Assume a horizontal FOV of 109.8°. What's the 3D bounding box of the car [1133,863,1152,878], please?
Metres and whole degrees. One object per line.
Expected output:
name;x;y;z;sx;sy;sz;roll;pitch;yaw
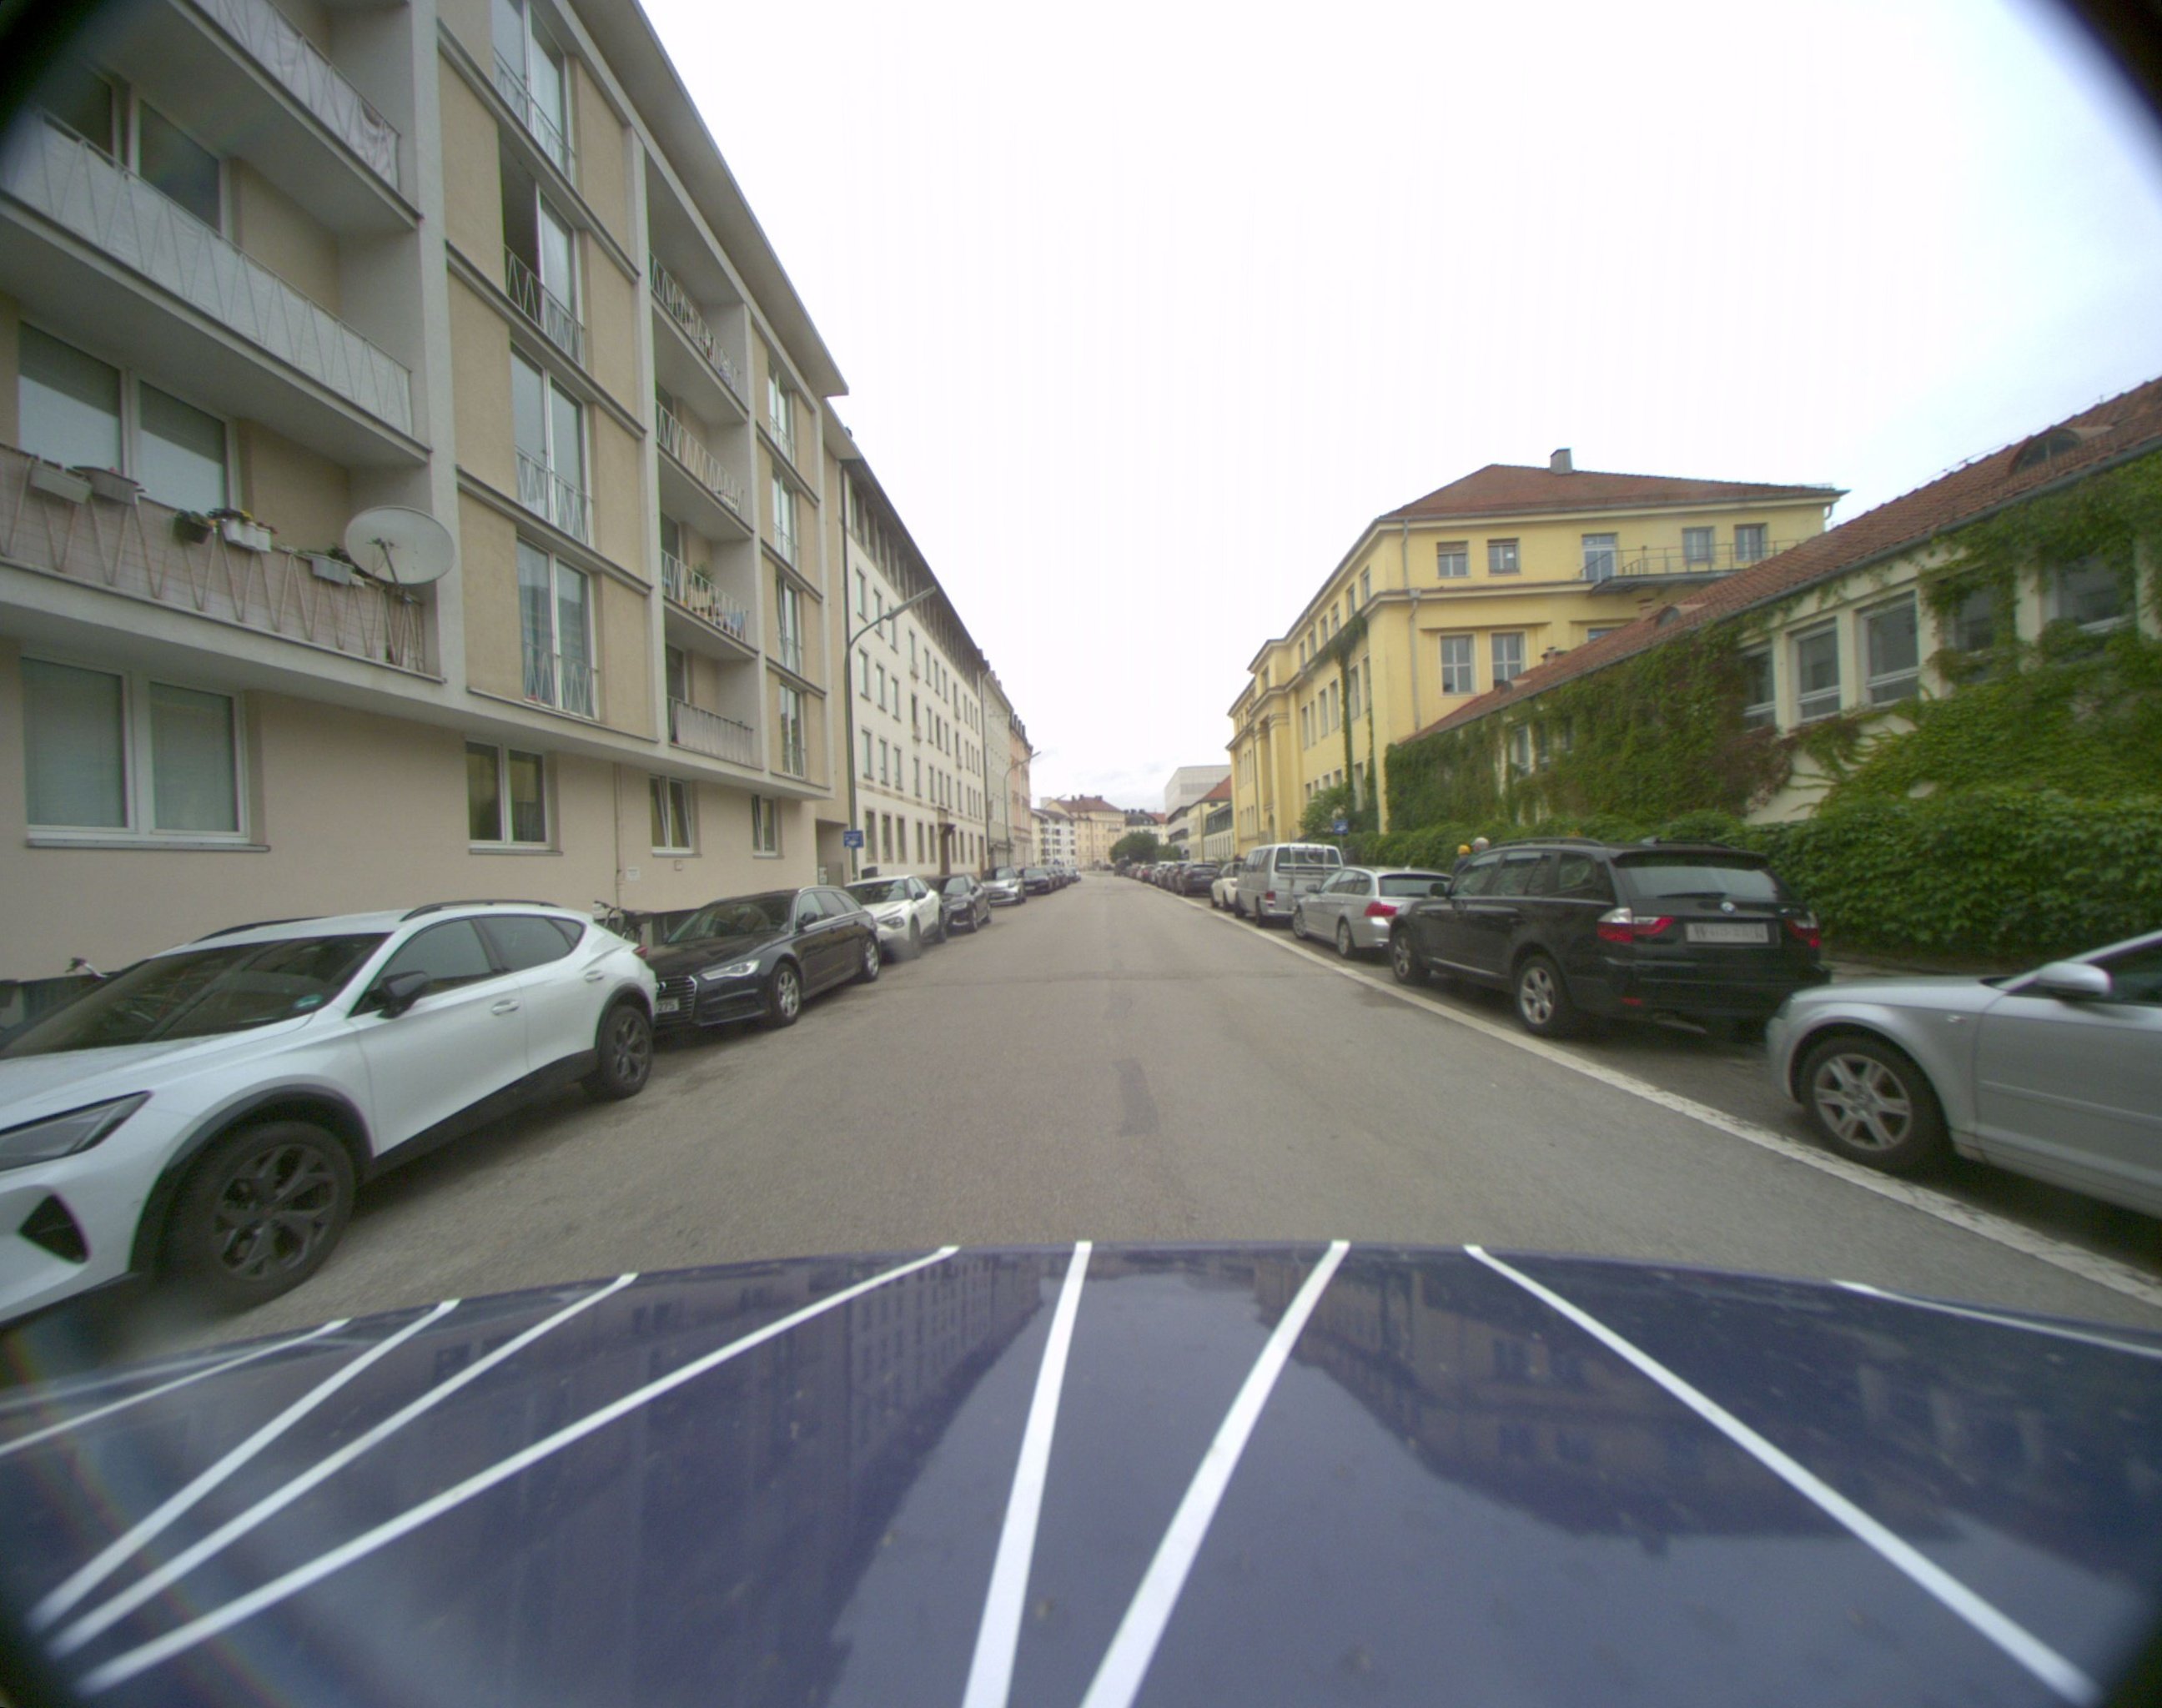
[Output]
car;6.504;1.698;80.705;1.773;1.545;4.211;1;-1;2

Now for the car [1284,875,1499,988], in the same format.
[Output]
car;4.836;1.121;12.623;1.808;1.369;4.492;2;0;2

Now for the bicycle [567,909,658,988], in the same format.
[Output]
bicycle;-7.873;1.554;12.835;0.515;1.150;1.601;-1;0;1

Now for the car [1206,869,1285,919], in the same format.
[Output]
car;4.977;1.165;23.440;1.671;1.401;3.560;1;-1;1

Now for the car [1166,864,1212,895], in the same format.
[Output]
car;5.446;1.274;38.761;1.774;1.493;4.274;0;-1;1

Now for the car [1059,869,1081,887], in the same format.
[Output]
car;-0.990;2.195;71.008;1.724;1.457;4.194;-5;-1;3

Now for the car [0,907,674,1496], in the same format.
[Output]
car;-4.188;1.228;4.085;1.780;1.513;4.303;-6;-1;-4

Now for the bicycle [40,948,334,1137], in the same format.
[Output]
bicycle;-7.408;1.492;6.409;0.397;1.195;1.569;1;0;17

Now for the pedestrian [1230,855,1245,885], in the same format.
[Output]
pedestrian;9.592;0.975;46.567;0.776;1.813;0.782;-2;0;5

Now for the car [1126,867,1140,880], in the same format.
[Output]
car;6.523;2.477;95.984;1.673;1.508;3.948;-1;-1;2

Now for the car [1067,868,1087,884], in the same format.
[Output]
car;-0.435;2.500;87.130;2.001;1.563;4.492;-5;-1;2

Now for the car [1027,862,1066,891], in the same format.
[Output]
car;-1.991;1.318;45.674;1.831;1.572;4.492;-4;-1;3

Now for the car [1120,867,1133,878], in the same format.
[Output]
car;6.315;2.538;106.157;1.673;1.508;3.948;-1;-1;2

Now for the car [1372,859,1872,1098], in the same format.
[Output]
car;4.538;0.880;7.412;1.706;1.597;4.492;1;-1;1

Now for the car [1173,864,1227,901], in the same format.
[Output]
car;5.183;1.216;33.594;1.721;1.472;4.221;2;-1;0

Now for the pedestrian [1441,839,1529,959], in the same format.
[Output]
pedestrian;6.178;0.679;11.663;0.845;1.744;0.872;-2;-1;2

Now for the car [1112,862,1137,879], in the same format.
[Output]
car;6.648;2.524;117.578;2.848;2.536;6.891;-1;-1;-4

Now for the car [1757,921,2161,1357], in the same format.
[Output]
car;4.494;1.021;2.070;1.711;1.357;4.002;2;-1;0

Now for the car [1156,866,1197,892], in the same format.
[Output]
car;5.546;1.447;44.433;1.778;1.400;4.602;2;-1;0

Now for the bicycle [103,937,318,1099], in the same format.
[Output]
bicycle;-7.897;1.437;6.967;0.418;1.195;1.285;1;0;6

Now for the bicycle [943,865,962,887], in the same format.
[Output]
bicycle;-6.650;1.116;39.269;0.599;1.073;2.040;1;-1;1

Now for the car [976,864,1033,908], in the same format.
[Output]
car;-2.995;1.249;30.429;1.618;1.507;3.381;-6;-1;3

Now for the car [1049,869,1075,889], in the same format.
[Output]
car;-1.587;2.094;64.353;1.768;1.531;4.001;-5;-1;2

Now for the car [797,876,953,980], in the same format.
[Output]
car;-3.732;1.275;14.535;1.706;1.460;4.120;-6;-1;0

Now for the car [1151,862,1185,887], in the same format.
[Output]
car;5.936;1.383;52.362;1.786;1.630;4.300;2;-1;-1

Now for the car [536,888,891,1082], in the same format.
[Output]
car;-3.945;1.306;9.274;1.776;1.420;4.694;-7;-1;2

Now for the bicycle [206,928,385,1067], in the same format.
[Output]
bicycle;-8.201;1.448;8.004;0.393;1.195;1.343;1;0;7

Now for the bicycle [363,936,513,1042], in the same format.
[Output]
bicycle;-7.700;1.602;9.140;1.342;1.195;0.393;1;1;-12

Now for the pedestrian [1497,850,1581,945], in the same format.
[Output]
pedestrian;7.579;0.704;12.616;0.845;1.485;0.872;-2;-1;3

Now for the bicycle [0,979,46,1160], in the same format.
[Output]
bicycle;-7.653;1.493;4.791;0.414;1.195;1.283;1;0;8

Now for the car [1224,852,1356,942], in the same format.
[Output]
car;4.808;0.937;18.234;1.897;1.787;4.882;2;-1;2

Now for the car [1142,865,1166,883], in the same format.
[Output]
car;5.949;1.607;62.429;1.738;1.430;3.780;1;-1;2

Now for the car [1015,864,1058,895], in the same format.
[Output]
car;-2.297;1.336;40.344;1.878;1.439;4.701;-4;-1;0

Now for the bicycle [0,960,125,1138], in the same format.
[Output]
bicycle;-8.093;1.468;5.516;0.447;1.195;1.395;1;0;8

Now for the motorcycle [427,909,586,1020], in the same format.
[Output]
motorcycle;-7.899;1.461;10.585;0.637;1.263;2.041;-1;0;1

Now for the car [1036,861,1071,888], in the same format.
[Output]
car;-1.768;1.359;50.787;1.831;1.572;4.493;-4;-1;3

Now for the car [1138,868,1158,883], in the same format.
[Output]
car;6.601;2.143;75.240;1.816;1.389;4.021;0;-1;2

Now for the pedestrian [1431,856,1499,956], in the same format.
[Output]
pedestrian;6.571;0.872;13.044;0.684;1.642;0.872;-2;-1;1

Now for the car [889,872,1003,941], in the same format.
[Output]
car;-3.245;1.221;19.184;1.831;1.373;4.492;-5;-1;2
